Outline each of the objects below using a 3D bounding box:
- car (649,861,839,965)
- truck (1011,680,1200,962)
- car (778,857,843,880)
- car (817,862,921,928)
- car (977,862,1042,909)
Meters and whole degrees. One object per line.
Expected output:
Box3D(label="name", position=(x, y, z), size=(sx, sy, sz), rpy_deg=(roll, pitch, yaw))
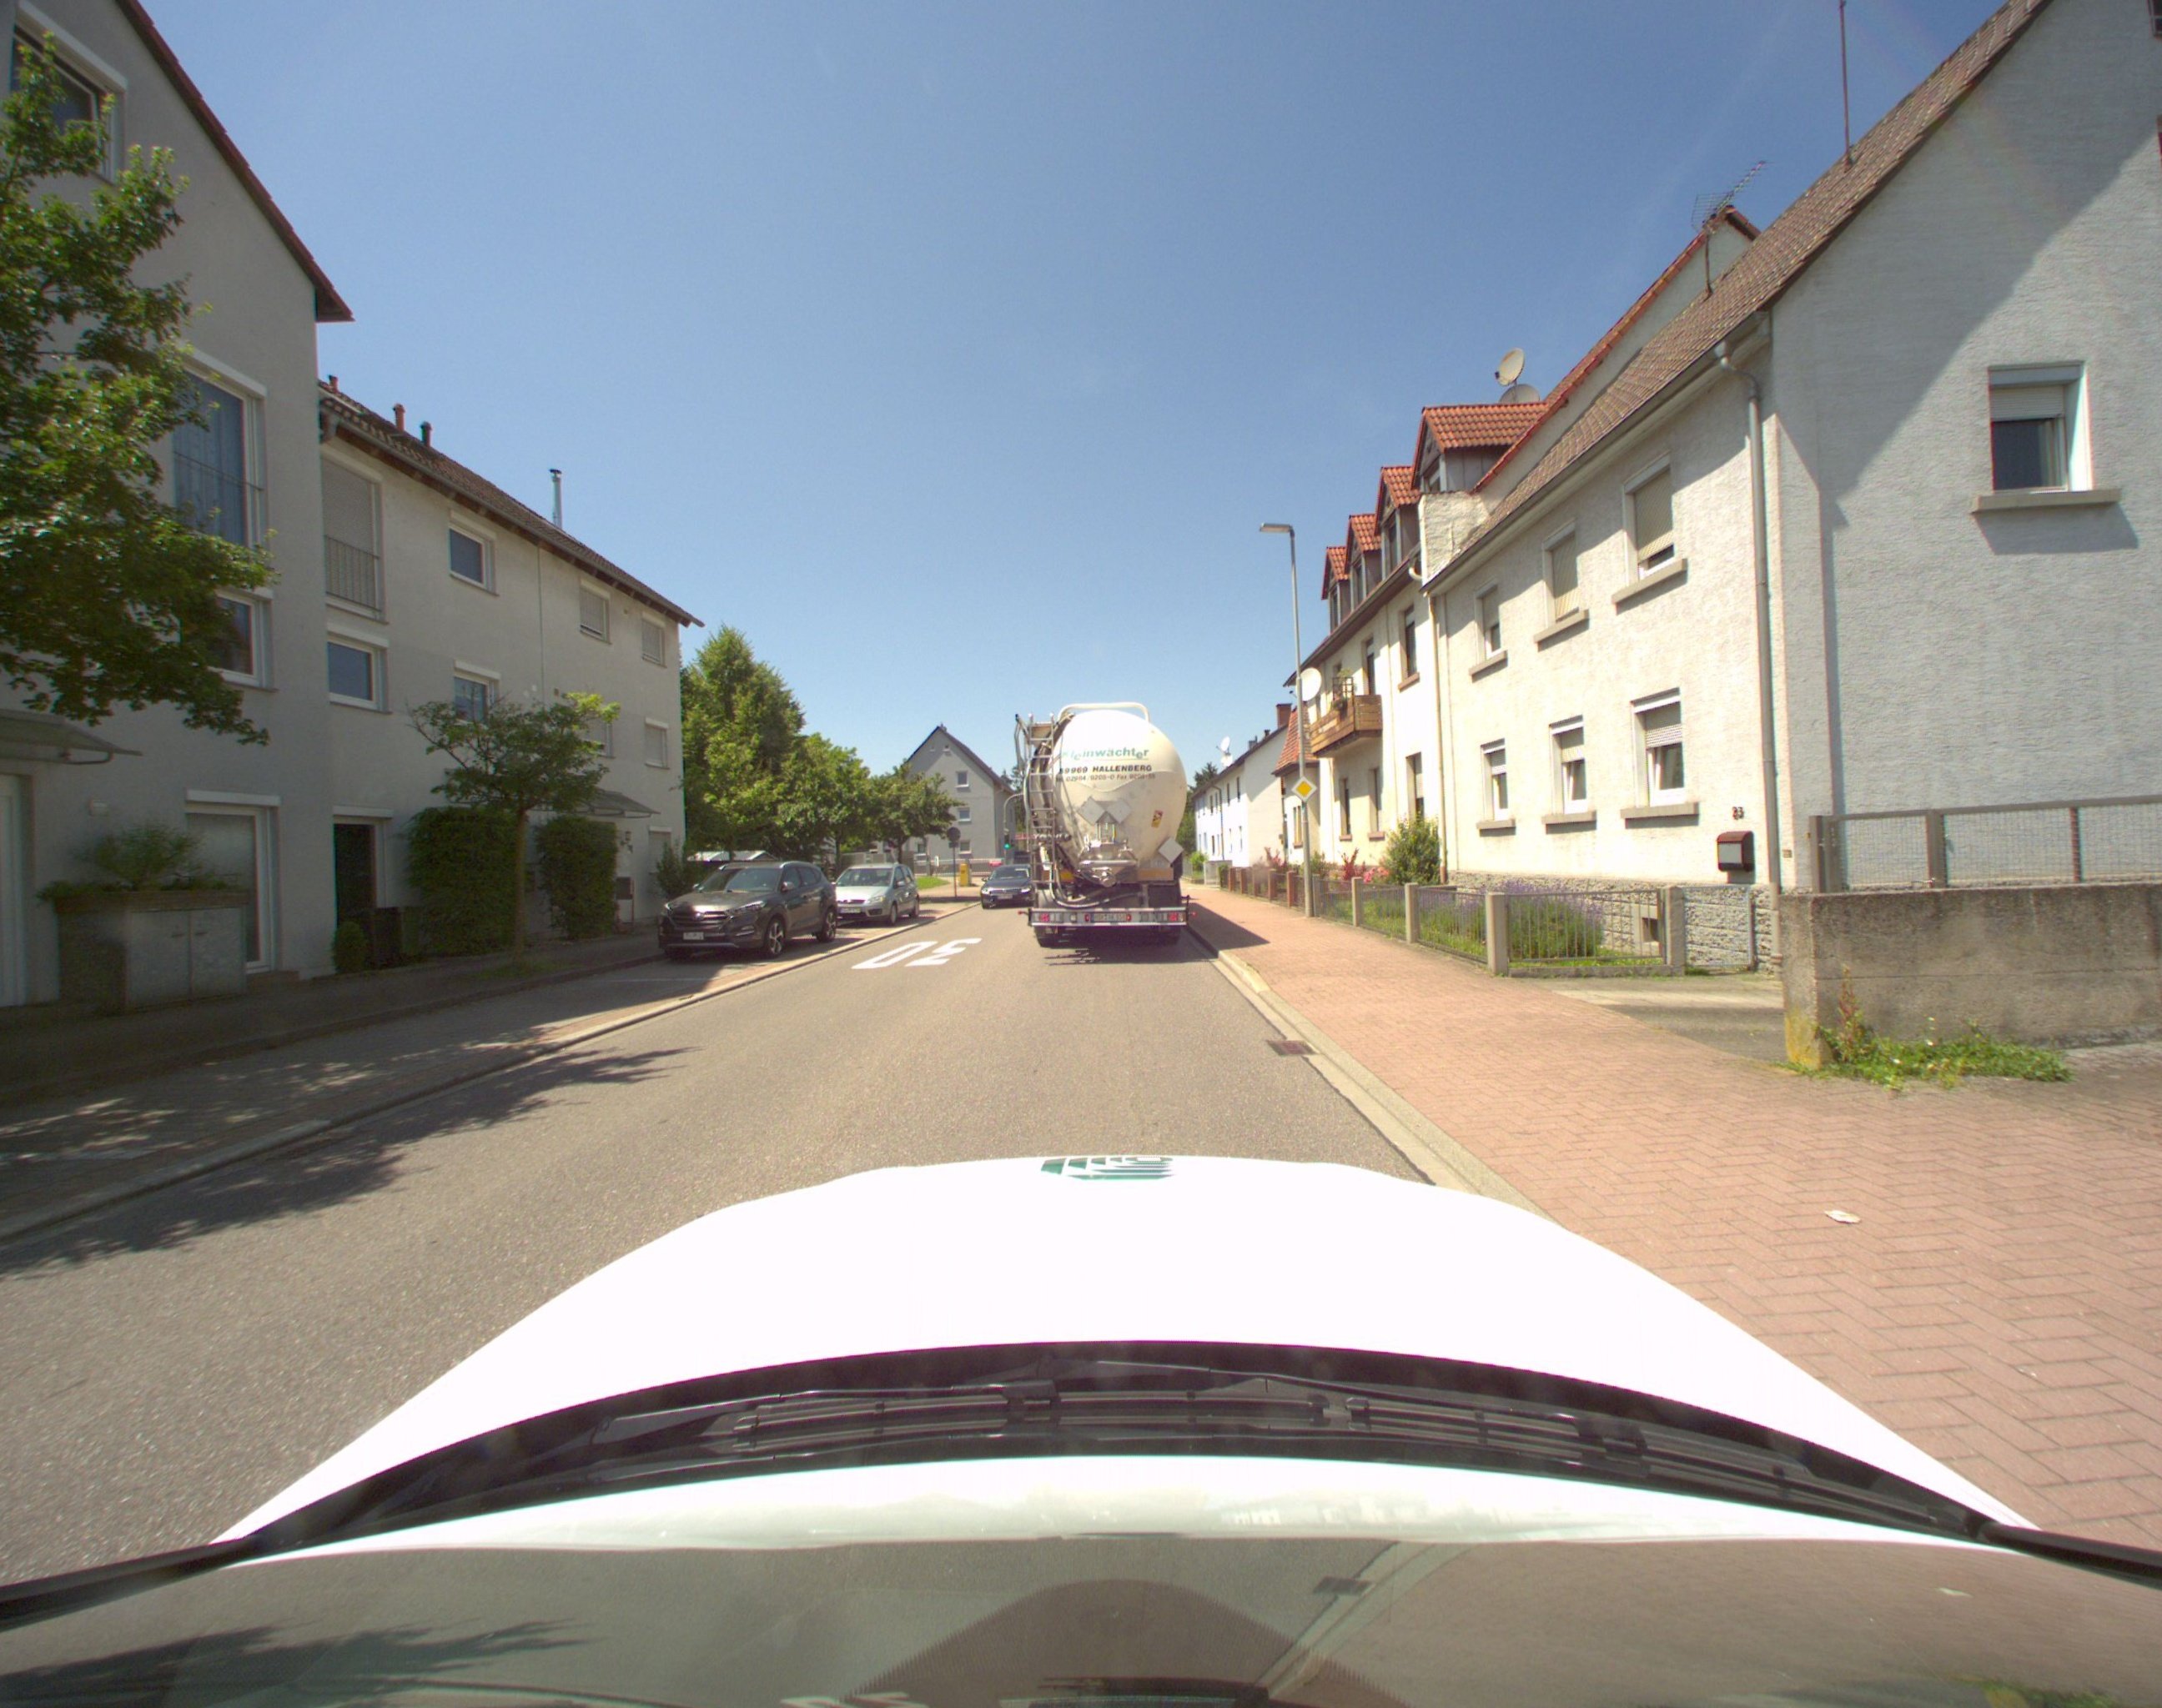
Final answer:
Box3D(label="car", position=(-5.989, 0.966, 15.028), size=(1.685, 1.620, 3.999), rpy_deg=(-1, 0, 2))
Box3D(label="truck", position=(0.524, -0.453, 16.526), size=(2.631, 4.016, 9.565), rpy_deg=(-1, 0, 2))
Box3D(label="car", position=(-21.601, 1.163, 65.132), size=(4.597, 1.651, 1.745), rpy_deg=(-2, 0, 10))
Box3D(label="car", position=(-5.544, 1.015, 21.774), size=(1.691, 1.581, 3.838), rpy_deg=(-1, 0, 1))
Box3D(label="car", position=(-2.489, 1.079, 29.340), size=(1.778, 1.456, 4.259), rpy_deg=(-3, 0, 1))
